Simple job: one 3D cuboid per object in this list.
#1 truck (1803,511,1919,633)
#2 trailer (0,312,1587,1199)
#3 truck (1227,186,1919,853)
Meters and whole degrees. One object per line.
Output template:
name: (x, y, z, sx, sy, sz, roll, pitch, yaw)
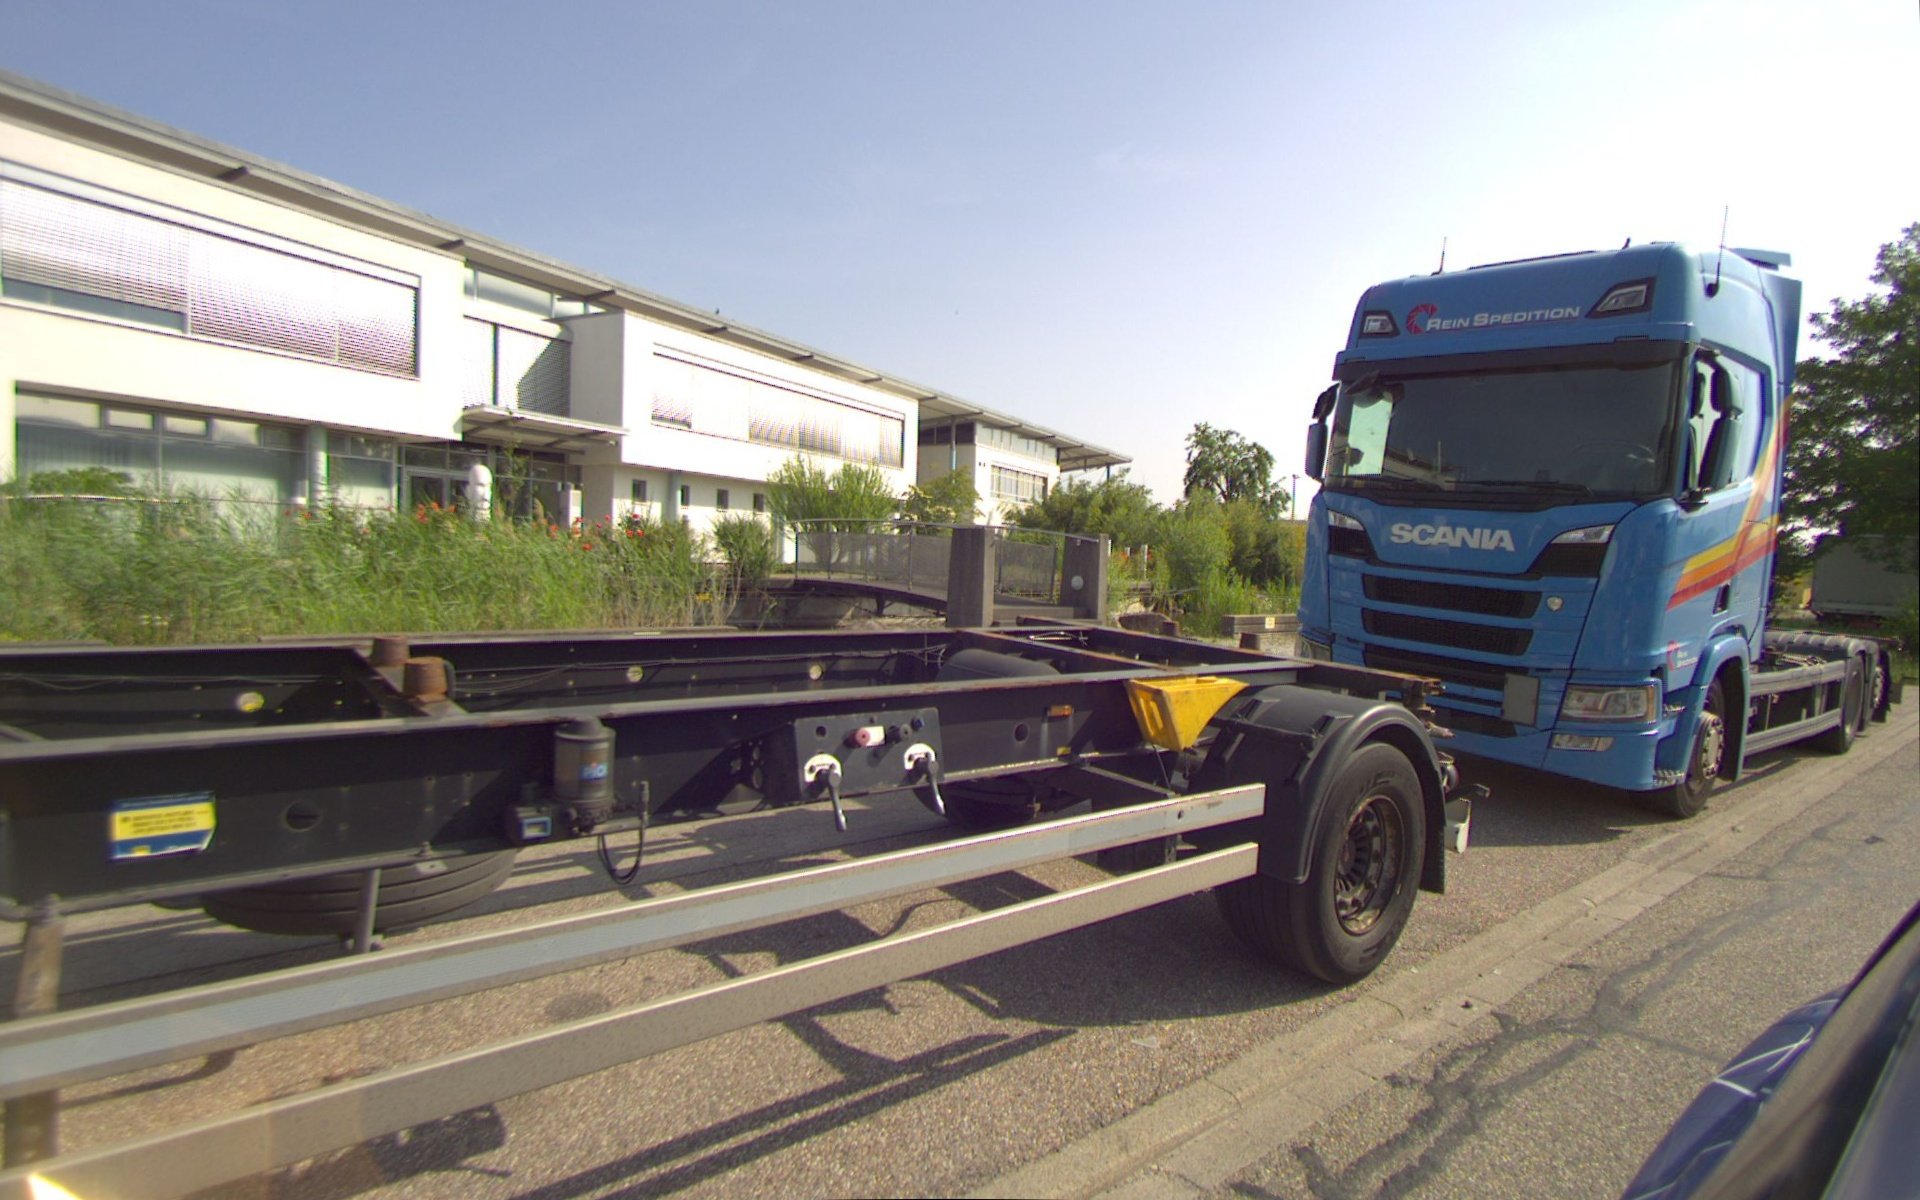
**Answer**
truck: (28.938, -0.707, 27.964, 2.693, 3.410, 8.227, -2, 4, -40)
trailer: (-4.388, 0.391, 0.120, 15.886, 1.592, 2.753, -1, 5, -40)
truck: (6.737, -0.646, 9.617, 9.582, 3.575, 2.897, -2, 7, -40)
